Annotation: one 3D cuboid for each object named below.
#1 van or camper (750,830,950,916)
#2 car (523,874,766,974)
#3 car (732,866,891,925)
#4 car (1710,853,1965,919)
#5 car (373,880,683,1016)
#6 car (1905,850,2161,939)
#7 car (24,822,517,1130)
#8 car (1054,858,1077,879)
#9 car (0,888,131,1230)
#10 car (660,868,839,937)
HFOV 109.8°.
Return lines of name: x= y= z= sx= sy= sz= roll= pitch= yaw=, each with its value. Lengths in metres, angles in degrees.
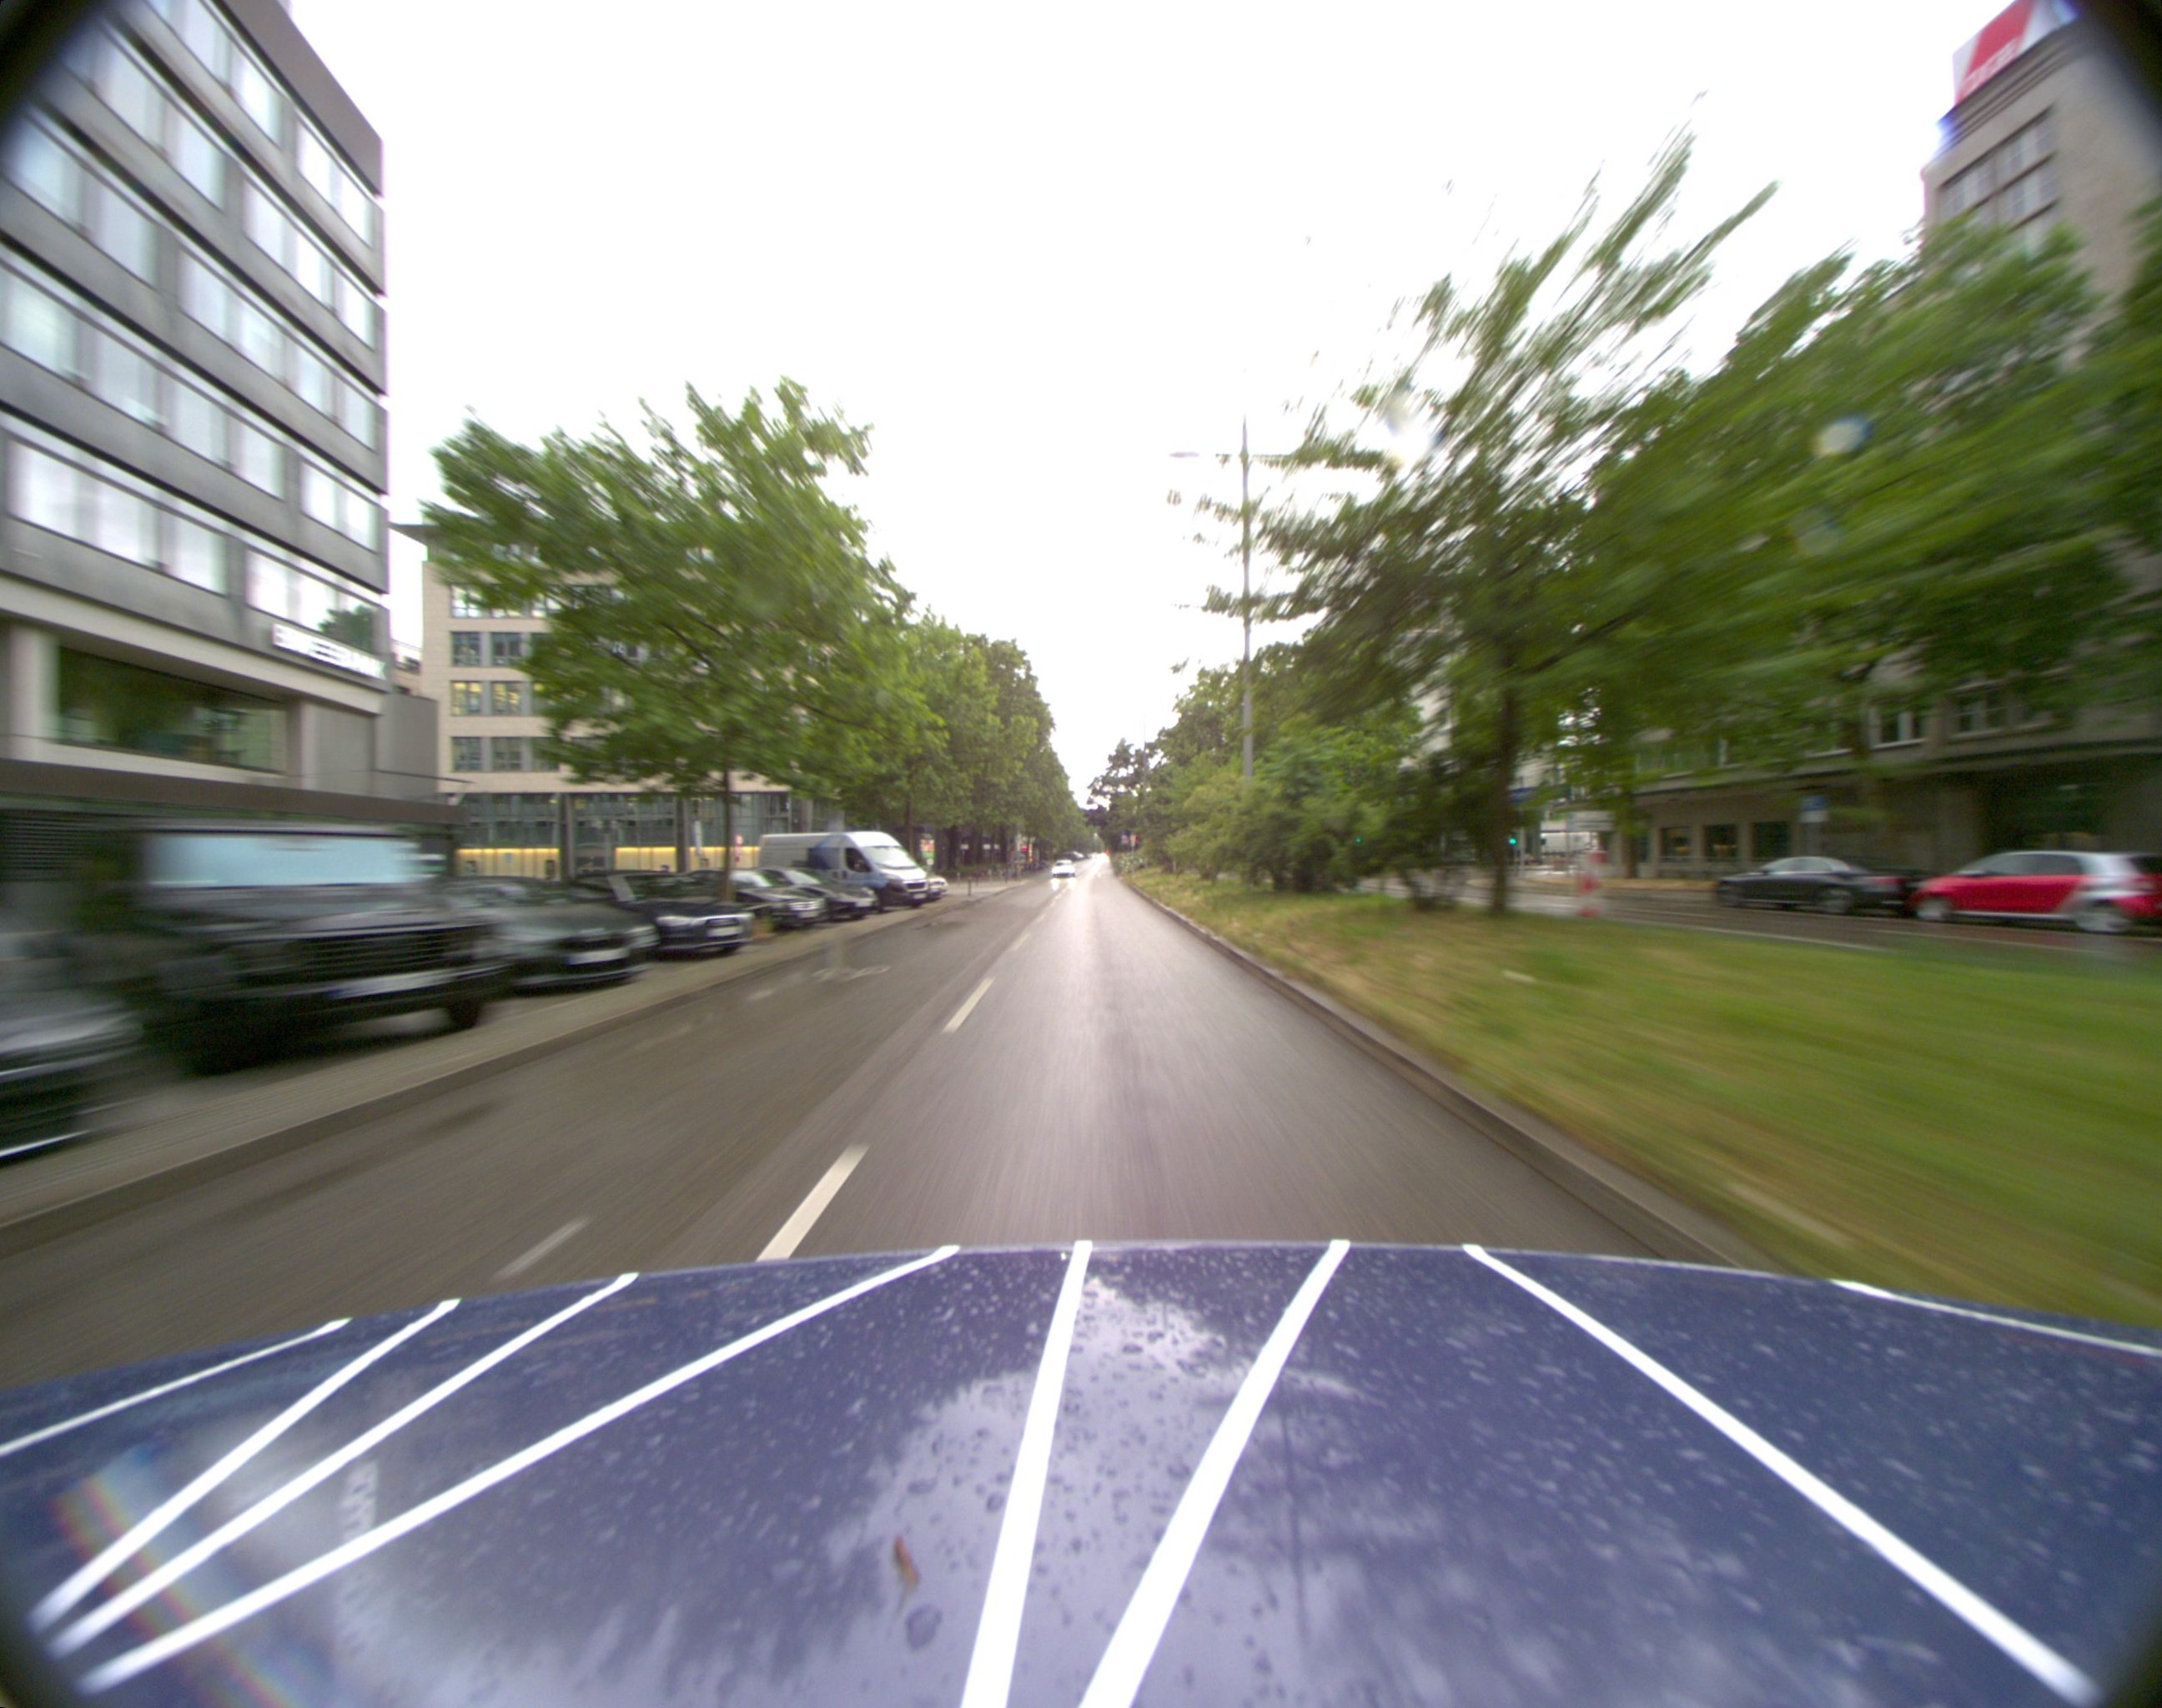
van or camper: x=-7.353 y=0.578 z=23.922 sx=6.249 sy=2.433 sz=2.319 roll=-1 pitch=0 yaw=30
car: x=-7.430 y=1.084 z=12.885 sx=4.003 sy=1.416 sz=1.711 roll=-1 pitch=0 yaw=29
car: x=-7.198 y=1.055 z=20.244 sx=4.051 sy=1.416 sz=1.711 roll=-1 pitch=0 yaw=29
car: x=18.759 y=0.709 z=19.220 sx=1.791 sy=1.478 sz=4.574 roll=0 pitch=0 yaw=-3
car: x=-7.361 y=1.096 z=10.056 sx=4.051 sy=1.416 sz=1.739 roll=-1 pitch=0 yaw=29
car: x=18.794 y=0.682 z=14.663 sx=1.690 sy=1.493 sz=3.691 roll=0 pitch=0 yaw=-3
car: x=-7.322 y=0.809 z=6.795 sx=4.506 sy=1.981 sz=1.925 roll=-1 pitch=0 yaw=29
car: x=-1.355 y=1.186 z=65.233 sx=1.791 sy=1.736 sz=4.574 roll=0 pitch=0 yaw=-3
car: x=-7.140 y=0.986 z=3.904 sx=4.380 sy=1.529 sz=1.920 roll=-1 pitch=0 yaw=27
car: x=-7.797 y=1.066 z=17.821 sx=4.051 sy=1.416 sz=1.711 roll=-1 pitch=0 yaw=29
